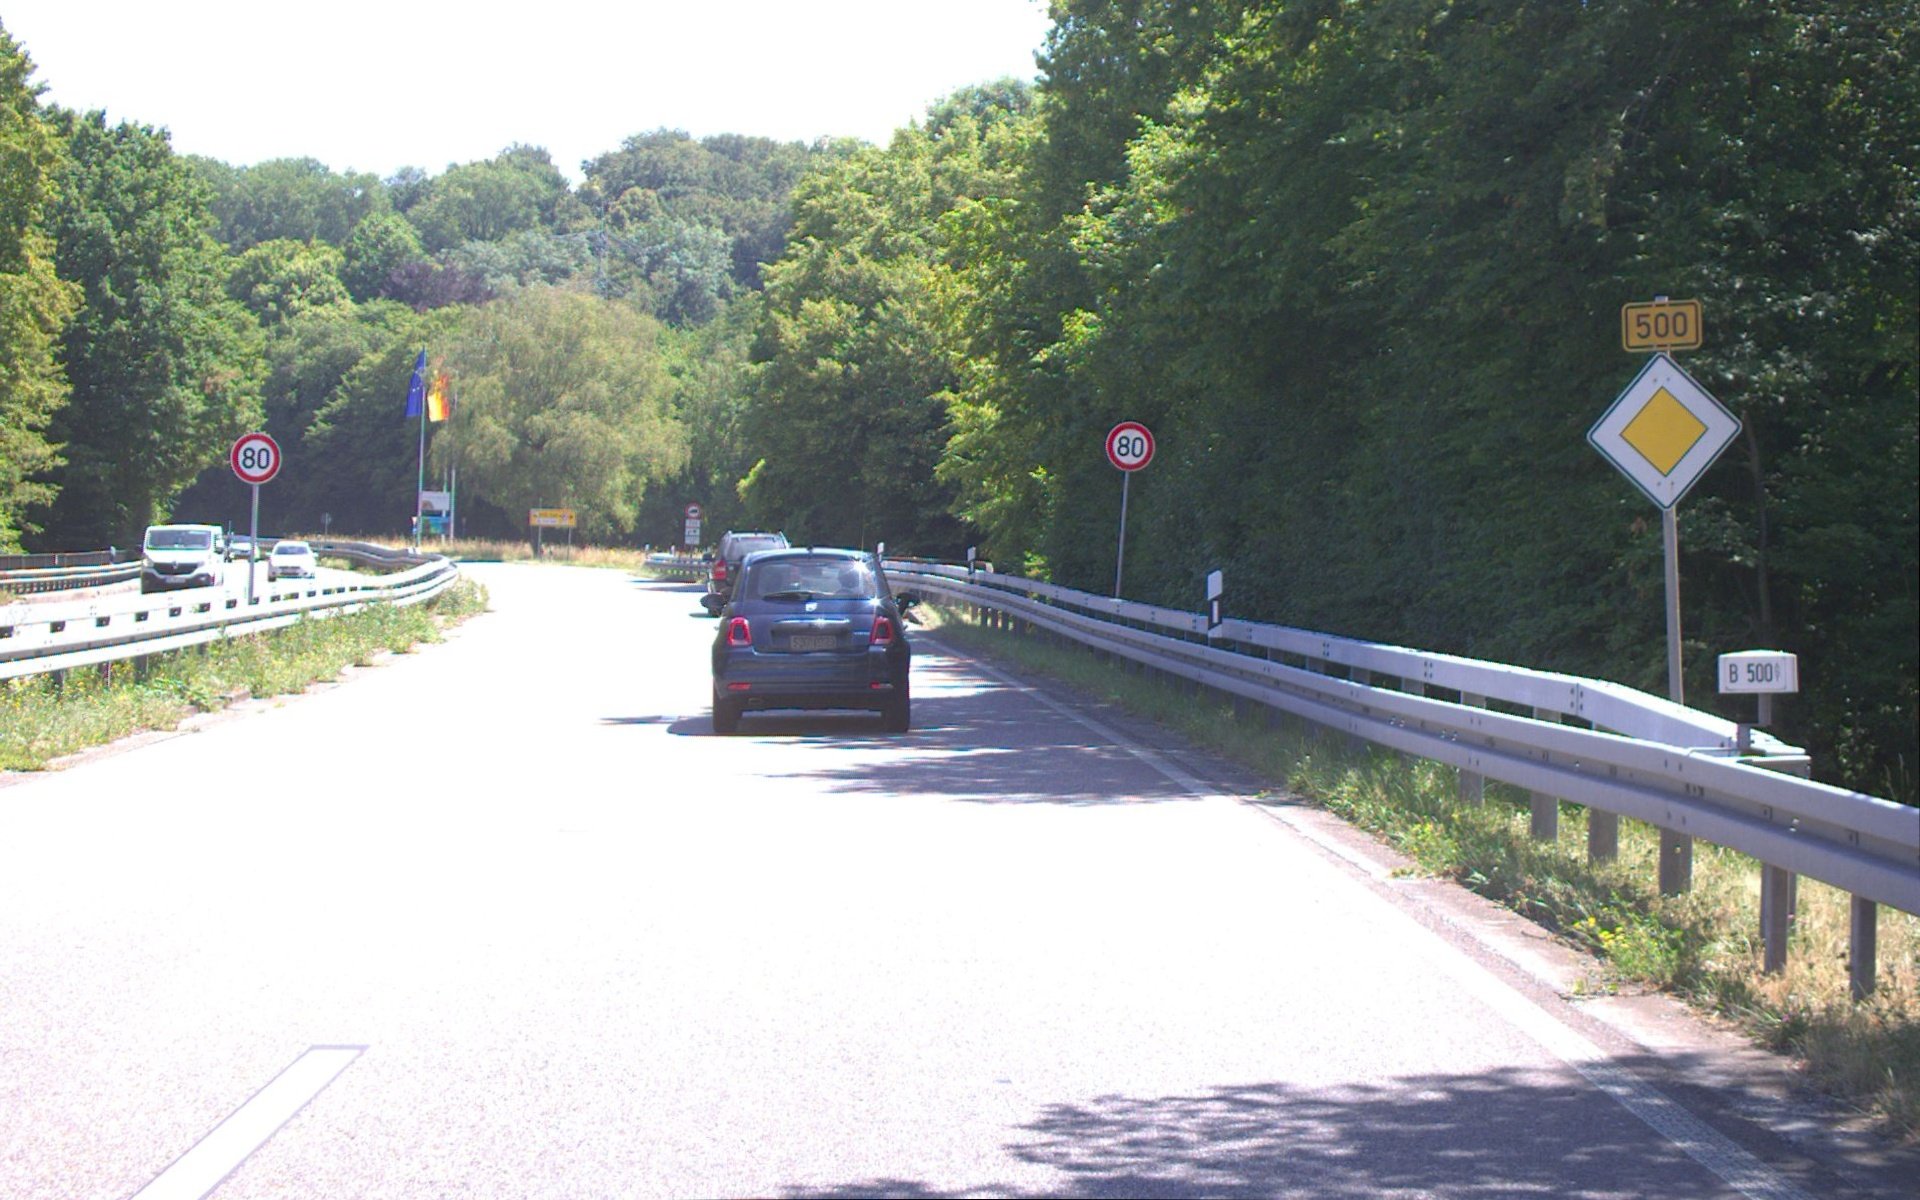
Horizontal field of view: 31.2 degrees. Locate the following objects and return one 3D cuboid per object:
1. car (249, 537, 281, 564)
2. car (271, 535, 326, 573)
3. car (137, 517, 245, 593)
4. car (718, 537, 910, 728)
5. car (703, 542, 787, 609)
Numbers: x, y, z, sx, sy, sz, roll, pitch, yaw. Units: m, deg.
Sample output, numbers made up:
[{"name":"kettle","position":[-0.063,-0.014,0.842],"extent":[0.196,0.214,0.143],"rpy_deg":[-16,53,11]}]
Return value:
[{"name":"car","position":[-40.948,-2.919,202.547],"extent":[1.650,1.601,4.221],"rpy_deg":[0,1,-9]},{"name":"car","position":[-25.239,-1.770,131.274],"extent":[1.651,1.442,4.220],"rpy_deg":[0,1,-6]},{"name":"car","position":[-20.386,-1.214,91.372],"extent":[1.989,1.944,5.641],"rpy_deg":[0,1,-4]},{"name":"car","position":[-1.223,0.222,28.954],"extent":[1.513,1.495,3.590],"rpy_deg":[0,1,-2]},{"name":"car","position":[-4.374,-0.510,69.617],"extent":[1.525,1.309,3.416],"rpy_deg":[0,1,-6]}]
